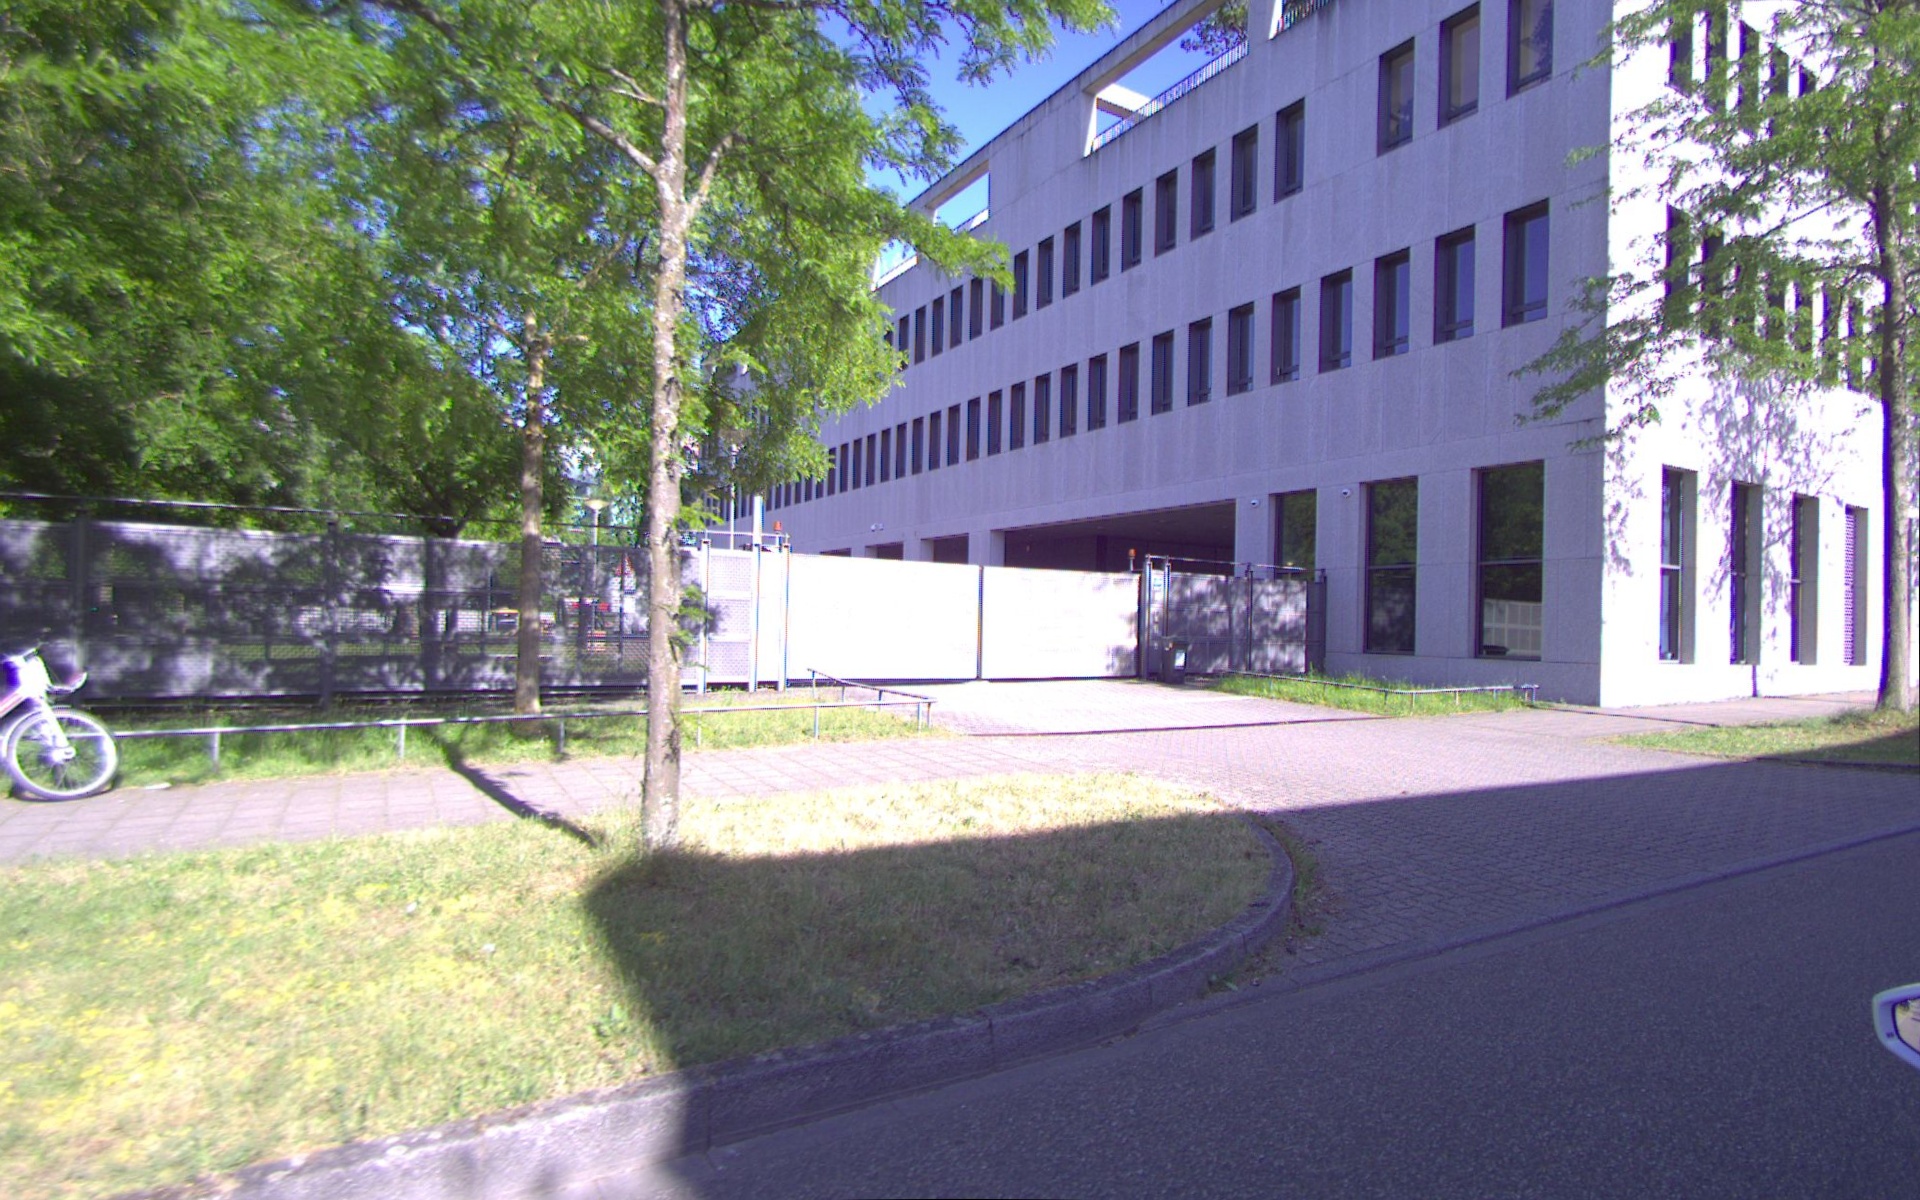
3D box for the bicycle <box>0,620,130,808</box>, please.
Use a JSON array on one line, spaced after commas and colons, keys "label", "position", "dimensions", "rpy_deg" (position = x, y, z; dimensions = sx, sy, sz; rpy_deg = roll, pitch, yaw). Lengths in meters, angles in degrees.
[{"label": "bicycle", "position": [-6.679, 0.741, 6.661], "dimensions": [1.707, 1.208, 0.597], "rpy_deg": [2, 0, -30]}]
